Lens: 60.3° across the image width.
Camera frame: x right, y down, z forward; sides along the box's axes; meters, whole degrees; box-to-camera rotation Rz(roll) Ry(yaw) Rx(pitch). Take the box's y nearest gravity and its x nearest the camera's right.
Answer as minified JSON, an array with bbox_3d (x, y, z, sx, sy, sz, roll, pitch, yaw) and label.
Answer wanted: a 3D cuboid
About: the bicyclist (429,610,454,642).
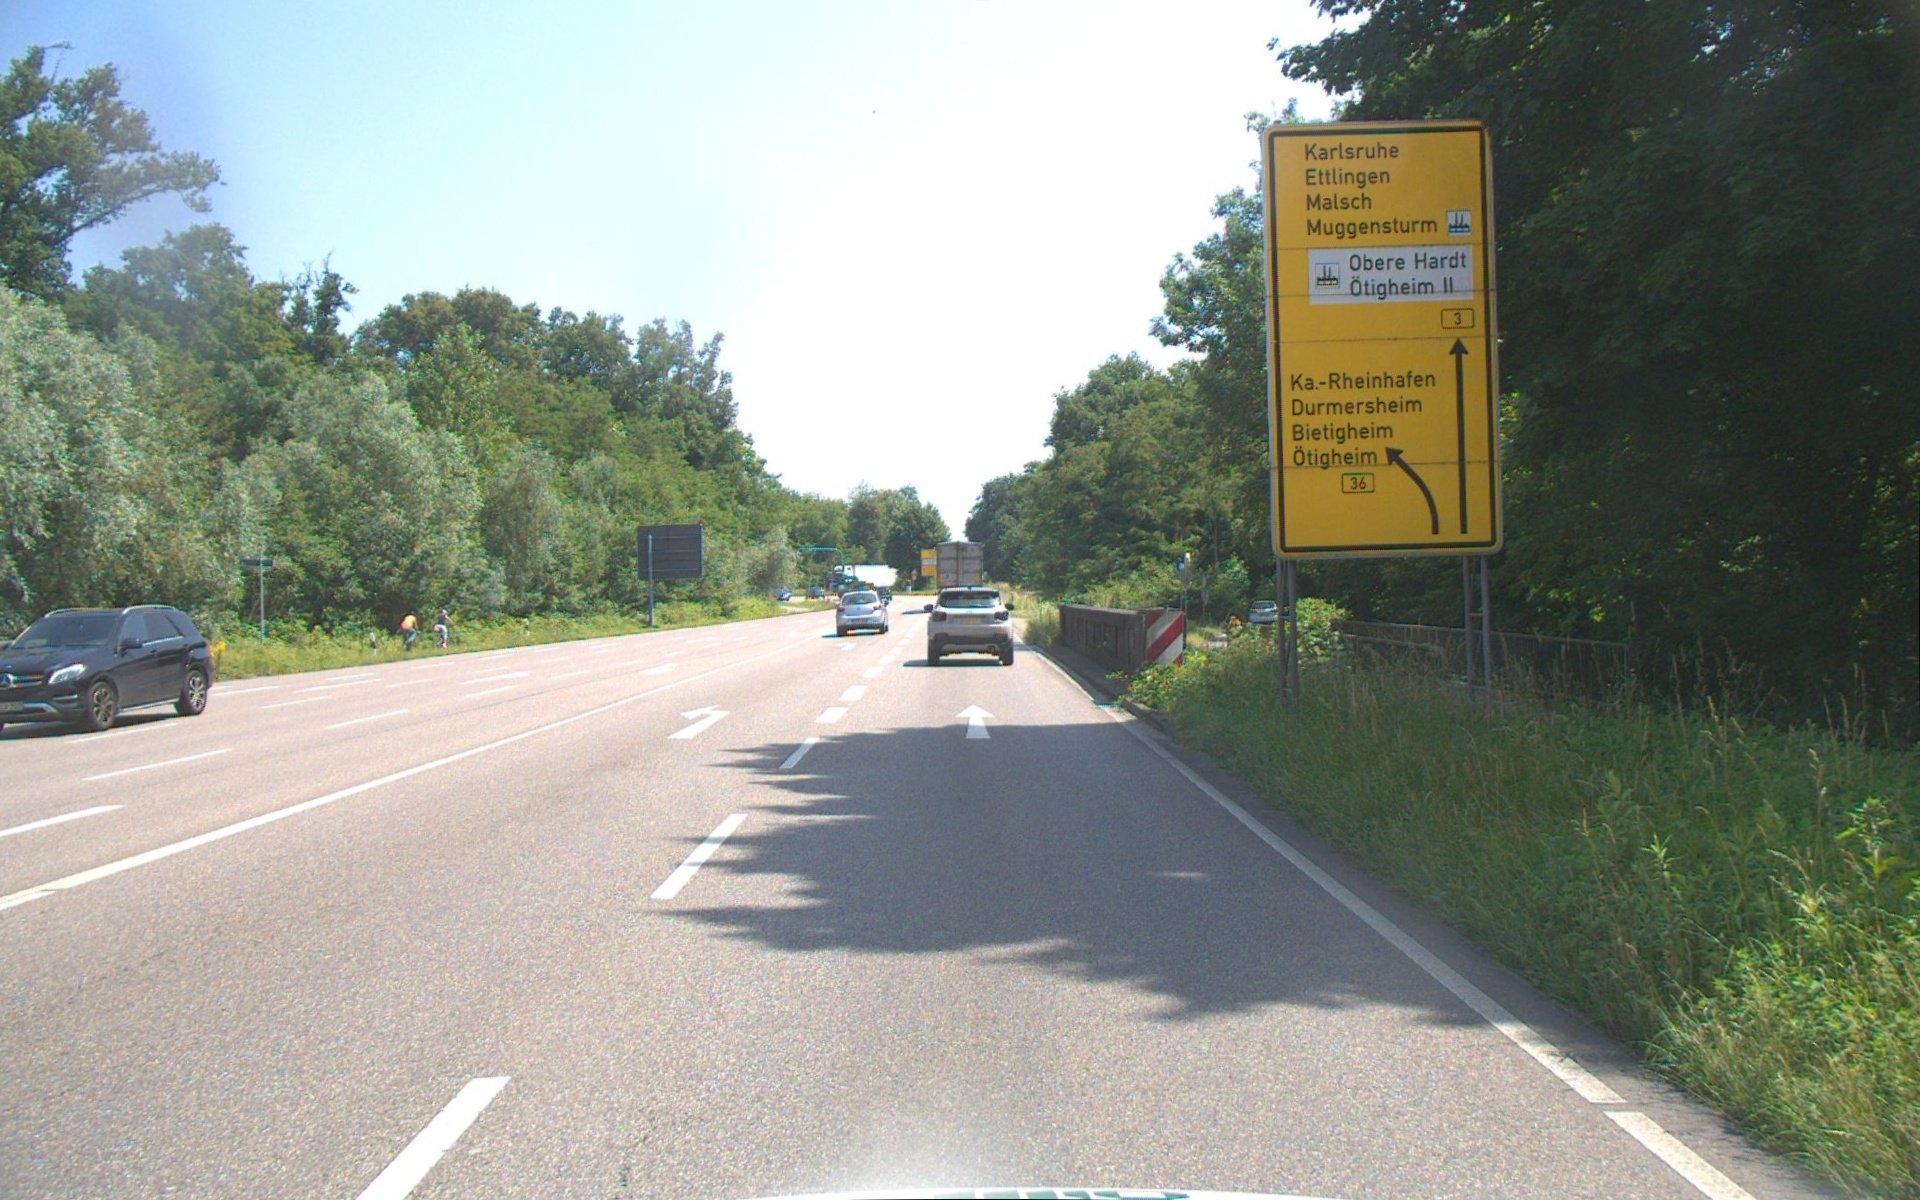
[{"bbox_3d":[-20.957,1.050,66.852,0.719,1.216,0.592,-3,0,11],"label":"bicyclist"}]

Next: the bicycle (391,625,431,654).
[{"bbox_3d":[-21.208,1.516,63.889,0.661,1.022,1.802,-3,0,10],"label":"bicycle"}]

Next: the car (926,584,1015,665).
[{"bbox_3d":[0.229,0.473,34.473,1.731,1.561,4.000,-1,0,1],"label":"car"}]

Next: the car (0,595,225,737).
[{"bbox_3d":[-13.292,0.923,25.205,1.953,1.914,4.959,-2,0,-1],"label":"car"}]

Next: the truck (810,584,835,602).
[{"bbox_3d":[-16.847,-0.860,202.390,2.102,2.235,4.631,0,0,-19],"label":"truck"}]

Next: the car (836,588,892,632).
[{"bbox_3d":[-3.245,0.312,56.301,1.631,1.455,3.828,0,0,1],"label":"car"}]

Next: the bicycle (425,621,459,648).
[{"bbox_3d":[-20.925,1.375,66.866,0.591,1.023,1.557,-3,0,11],"label":"bicycle"}]

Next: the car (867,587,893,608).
[{"bbox_3d":[-8.237,-0.250,169.837,1.958,2.049,4.541,-2,0,-11],"label":"car"}]

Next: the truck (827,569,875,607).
[{"bbox_3d":[-12.315,-1.325,186.268,3.586,4.177,9.467,0,0,-16],"label":"truck"}]

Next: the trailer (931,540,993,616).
[{"bbox_3d":[0.104,-1.169,94.511,3.313,4.058,10.803,0,0,0],"label":"trailer"}]

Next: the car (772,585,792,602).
[{"bbox_3d":[-21.615,-0.815,200.560,1.958,1.914,3.989,-3,0,-11],"label":"car"}]

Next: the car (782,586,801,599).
[{"bbox_3d":[-21.608,-0.931,211.769,1.960,1.613,3.985,0,0,-14],"label":"car"}]

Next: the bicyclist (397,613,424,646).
[{"bbox_3d":[-21.225,1.138,63.886,0.741,1.216,0.592,-3,0,10],"label":"bicyclist"}]
